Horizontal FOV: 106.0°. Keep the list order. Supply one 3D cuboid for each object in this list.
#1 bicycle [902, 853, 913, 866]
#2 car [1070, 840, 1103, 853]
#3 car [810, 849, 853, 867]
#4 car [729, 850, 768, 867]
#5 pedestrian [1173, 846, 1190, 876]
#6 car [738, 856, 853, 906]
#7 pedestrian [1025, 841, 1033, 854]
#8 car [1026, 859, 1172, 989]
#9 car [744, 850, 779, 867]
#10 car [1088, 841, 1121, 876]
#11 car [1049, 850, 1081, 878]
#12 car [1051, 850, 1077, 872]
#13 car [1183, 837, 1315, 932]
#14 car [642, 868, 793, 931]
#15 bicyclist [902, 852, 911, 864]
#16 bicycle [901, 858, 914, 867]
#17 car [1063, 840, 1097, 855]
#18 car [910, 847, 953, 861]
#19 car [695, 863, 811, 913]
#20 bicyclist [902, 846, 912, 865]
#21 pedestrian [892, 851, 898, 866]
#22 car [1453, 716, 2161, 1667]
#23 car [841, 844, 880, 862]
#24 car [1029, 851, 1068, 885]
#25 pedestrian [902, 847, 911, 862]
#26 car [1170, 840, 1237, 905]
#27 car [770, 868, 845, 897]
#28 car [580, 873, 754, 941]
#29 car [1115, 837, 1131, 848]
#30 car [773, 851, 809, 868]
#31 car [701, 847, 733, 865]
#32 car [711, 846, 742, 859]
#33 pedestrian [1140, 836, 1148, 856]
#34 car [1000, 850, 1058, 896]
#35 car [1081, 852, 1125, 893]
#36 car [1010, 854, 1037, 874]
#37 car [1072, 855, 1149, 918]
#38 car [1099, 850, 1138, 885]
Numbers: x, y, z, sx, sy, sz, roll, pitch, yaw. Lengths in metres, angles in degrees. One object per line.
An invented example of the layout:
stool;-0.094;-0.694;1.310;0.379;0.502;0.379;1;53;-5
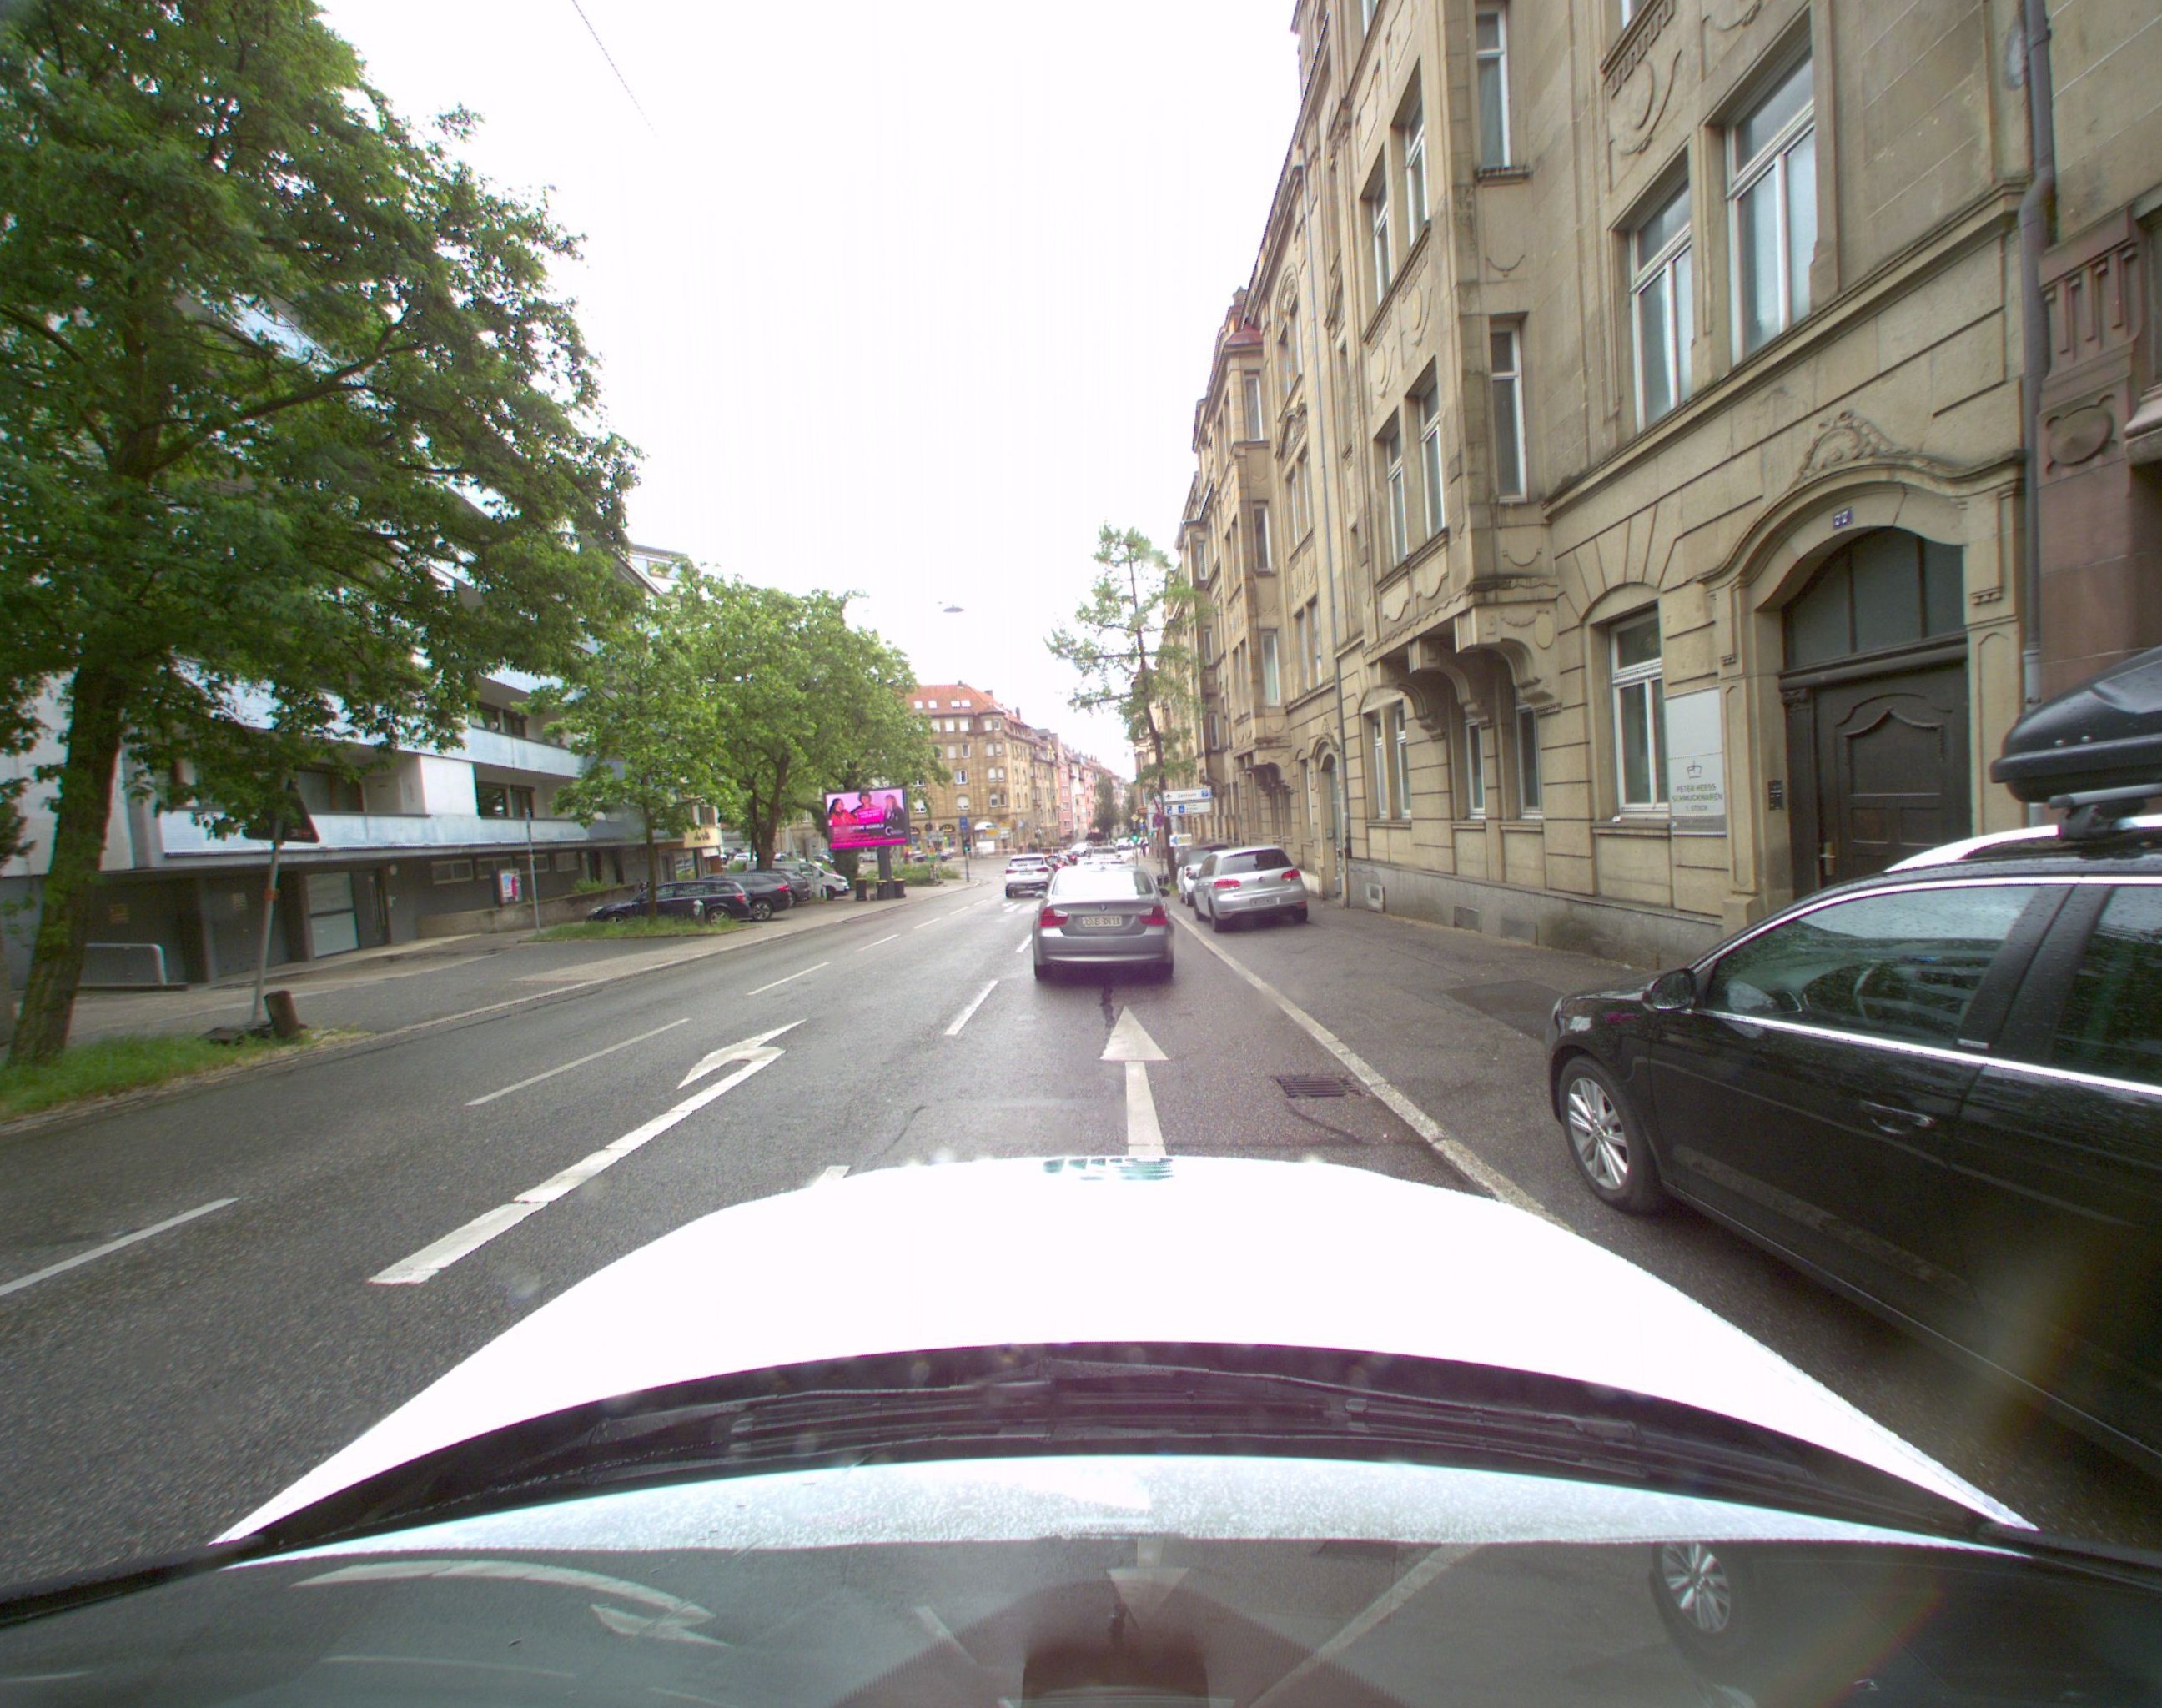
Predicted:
bicycle;-17.854;0.562;83.881;0.669;1.320;2.274;-4;0;-2
car;0.876;-1.200;130.030;5.158;2.014;2.699;0;-1;1
car;-26.602;0.418;86.812;4.194;1.726;2.013;-1;2;32
car;-38.247;0.495;93.692;4.195;1.726;2.013;-2;2;31
pedestrian;5.361;0.363;43.411;0.629;1.508;0.693;-7;0;1
car;-13.930;1.275;39.942;5.076;2.105;1.979;-3;0;-19
pedestrian;-6.437;-0.847;101.097;0.727;1.577;0.530;-3;0;10
car;0.296;0.805;11.039;1.617;1.383;3.618;-2;0;3
car;-41.424;0.513;105.502;4.238;2.101;2.013;0;2;30
car;1.537;0.310;52.299;1.986;2.106;4.001;-1;0;2
car;-1.023;0.632;54.186;1.752;1.707;4.003;-2;0;3
car;-1.319;0.520;65.962;1.752;1.707;4.003;-2;0;3
car;3.185;0.531;16.245;1.753;1.451;4.001;-7;0;1
car;-11.986;1.460;27.160;4.382;1.672;1.842;-4;0;-21
bicyclist;-17.905;0.397;83.556;0.564;1.273;0.693;-1;-1;22
bicycle;-17.829;0.887;83.694;0.568;0.858;1.530;-1;-1;21
car;-0.111;-0.735;94.117;1.974;1.578;4.025;-1;-1;34
car;-16.966;0.009;92.672;4.637;1.578;1.994;0;-1;-9
car;-13.815;1.401;34.581;4.370;1.784;1.927;-3;0;-19
bicyclist;-17.866;0.171;83.701;0.781;1.821;0.769;-4;0;-4
pedestrian;-19.877;0.513;87.027;0.587;1.634;0.390;0;-1;1
car;2.682;0.492;1.863;1.753;1.651;4.101;-7;0;2
car;-26.321;-0.113;97.348;4.238;2.101;2.013;0;2;30
car;-1.728;0.705;44.607;1.752;1.707;4.003;-2;0;3
pedestrian;-18.434;0.043;86.060;0.531;1.577;0.724;-3;0;25
car;3.353;0.488;22.697;1.295;1.543;2.977;-7;0;1
car;-15.926;1.637;47.529;3.984;1.450;1.758;-3;0;-19
car;-12.257;1.515;24.469;4.373;1.574;1.930;-4;0;-21
car;6.173;-1.648;118.332;1.983;1.578;4.008;0;-1;7
car;-36.759;0.707;103.155;4.238;2.101;2.013;0;2;30
car;-43.799;0.298;97.989;3.948;2.013;1.587;-2;0;33
car;-47.318;-0.197;108.758;3.949;1.689;1.738;-1;-1;29
pedestrian;6.277;-0.771;81.081;0.740;1.910;0.659;-3;0;1
car;-2.000;0.714;32.672;1.861;1.625;4.001;-4;0;1
car;0.907;0.667;31.733;1.588;1.464;4.003;0;0;3
car;-4.504;0.750;64.441;1.709;1.450;3.743;-3;0;1
car;0.791;0.766;21.083;1.752;1.383;4.003;-2;0;3
car;1.794;0.623;40.063;1.753;1.567;4.001;-2;0;1
